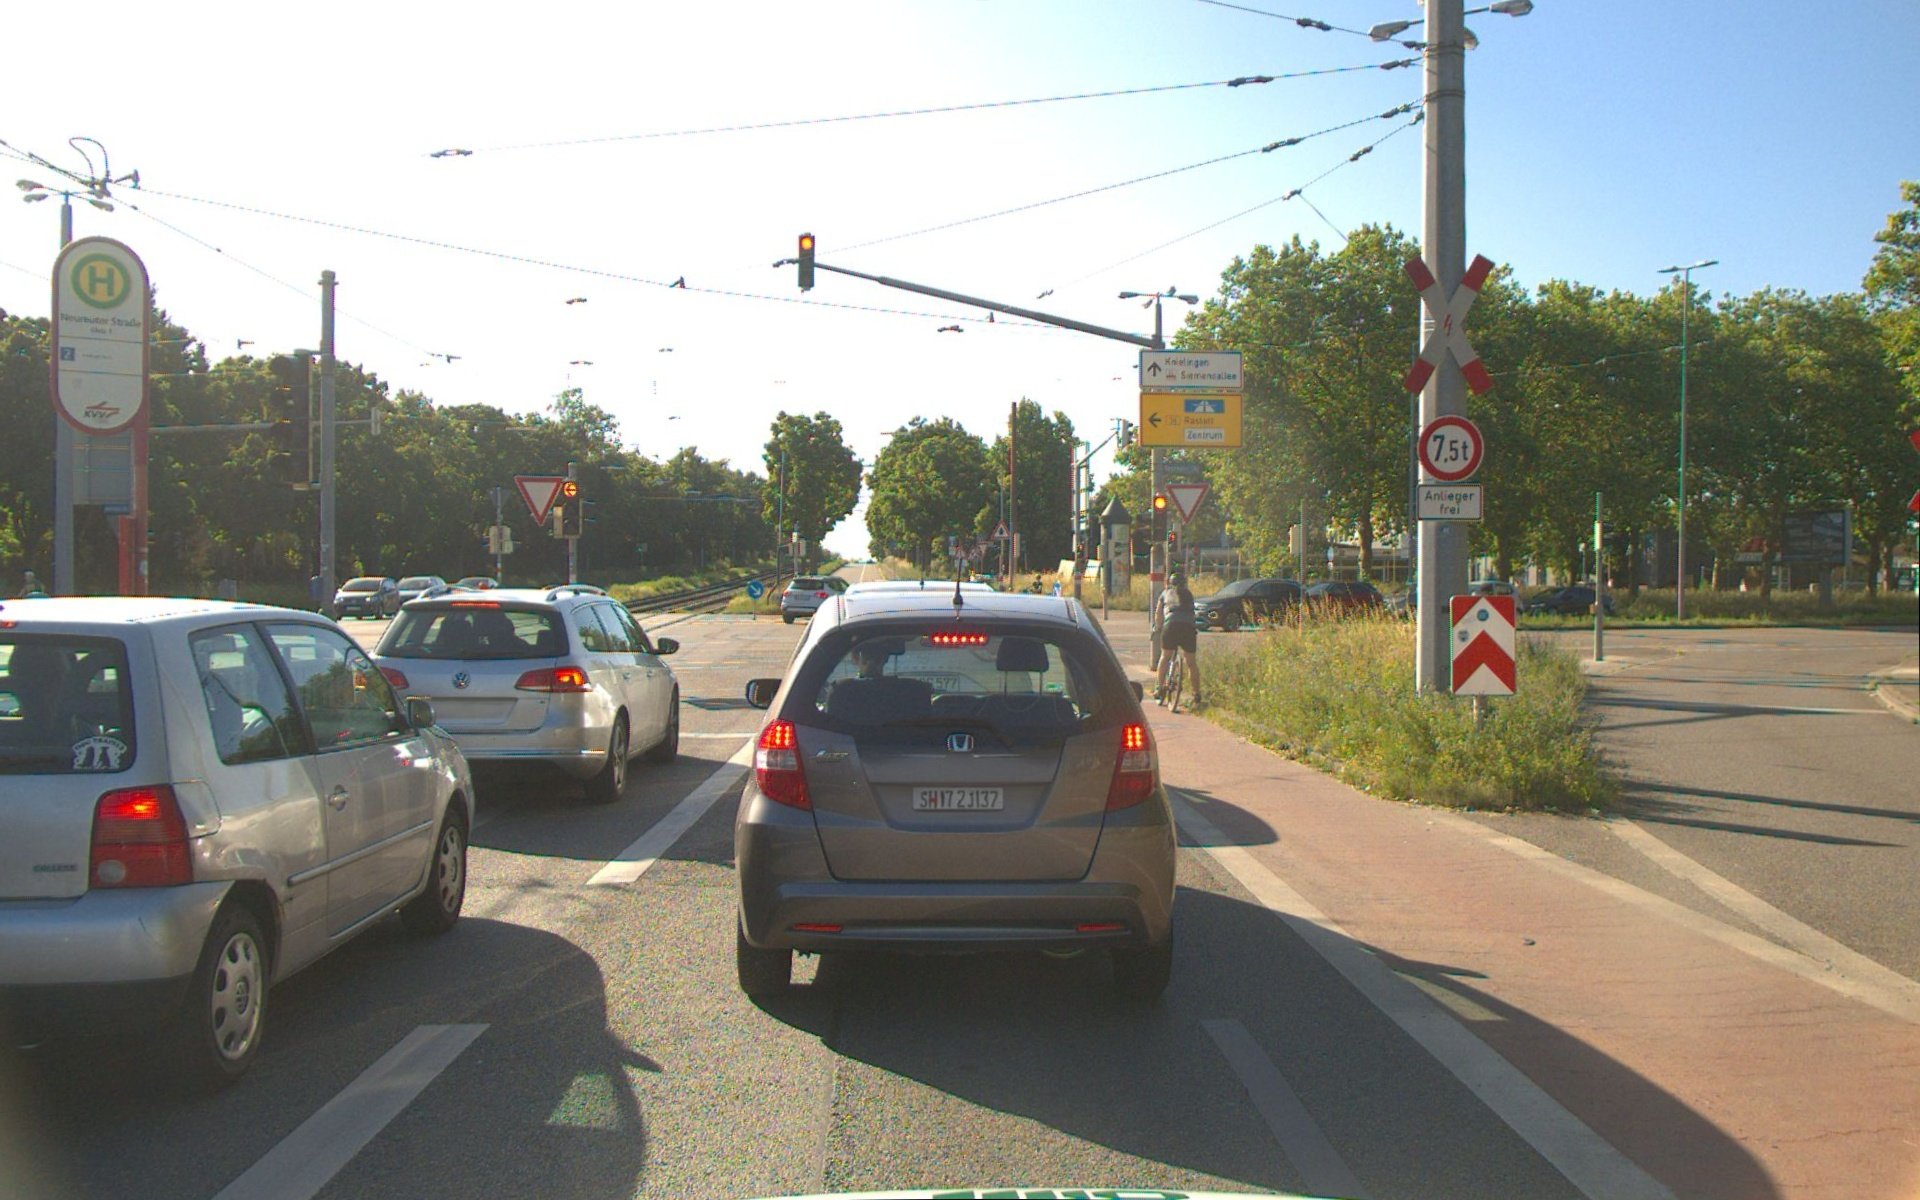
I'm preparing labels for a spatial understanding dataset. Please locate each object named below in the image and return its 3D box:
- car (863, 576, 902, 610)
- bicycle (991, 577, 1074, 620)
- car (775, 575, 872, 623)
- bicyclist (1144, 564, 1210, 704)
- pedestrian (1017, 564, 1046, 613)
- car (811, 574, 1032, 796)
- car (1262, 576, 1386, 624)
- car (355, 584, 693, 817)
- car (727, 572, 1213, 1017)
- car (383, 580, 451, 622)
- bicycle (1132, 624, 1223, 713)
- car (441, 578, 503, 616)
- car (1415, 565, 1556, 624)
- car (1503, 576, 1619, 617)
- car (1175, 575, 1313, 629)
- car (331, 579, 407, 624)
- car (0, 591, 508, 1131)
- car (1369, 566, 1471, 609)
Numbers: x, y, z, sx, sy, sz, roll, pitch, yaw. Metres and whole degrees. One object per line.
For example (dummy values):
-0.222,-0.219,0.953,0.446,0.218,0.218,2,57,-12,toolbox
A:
-3.246,-0.306,69.844,1.492,1.403,3.675,0,0,-1,car
2.758,-0.068,62.945,3.164,1.602,0.814,0,0,-26,bicycle
-4.445,-0.045,54.579,1.674,1.504,4.001,0,0,20,car
2.774,0.430,21.215,0.652,1.746,0.948,1,0,-2,bicyclist
2.716,-0.442,62.935,0.842,1.868,0.784,0,0,-26,pedestrian
-0.325,0.602,13.997,1.578,1.589,4.287,0,0,-1,car
12.366,-0.010,56.173,3.934,1.557,1.594,-1,1,-24,car
-3.146,0.657,12.736,1.586,1.482,4.084,1,0,-1,car
-0.054,0.642,7.365,1.635,1.487,3.584,0,0,-3,car
-21.477,0.027,65.547,1.798,1.575,4.277,0,0,-8,car
2.762,0.843,21.293,0.707,1.006,2.875,1,0,-2,bicycle
-21.725,-0.156,73.796,1.956,1.632,4.746,1,1,-8,car
19.029,-0.225,59.894,4.823,2.049,1.985,0,0,-24,car
24.014,-0.147,66.057,4.450,1.601,1.681,0,0,-24,car
8.684,0.046,50.605,3.913,1.571,1.583,0,0,-21,car
-21.308,0.044,59.758,1.798,1.575,3.993,0,0,-8,car
-2.888,0.706,6.096,1.586,1.442,3.350,0,0,-1,car
17.610,-0.480,63.279,3.694,1.597,1.480,0,0,-24,car
